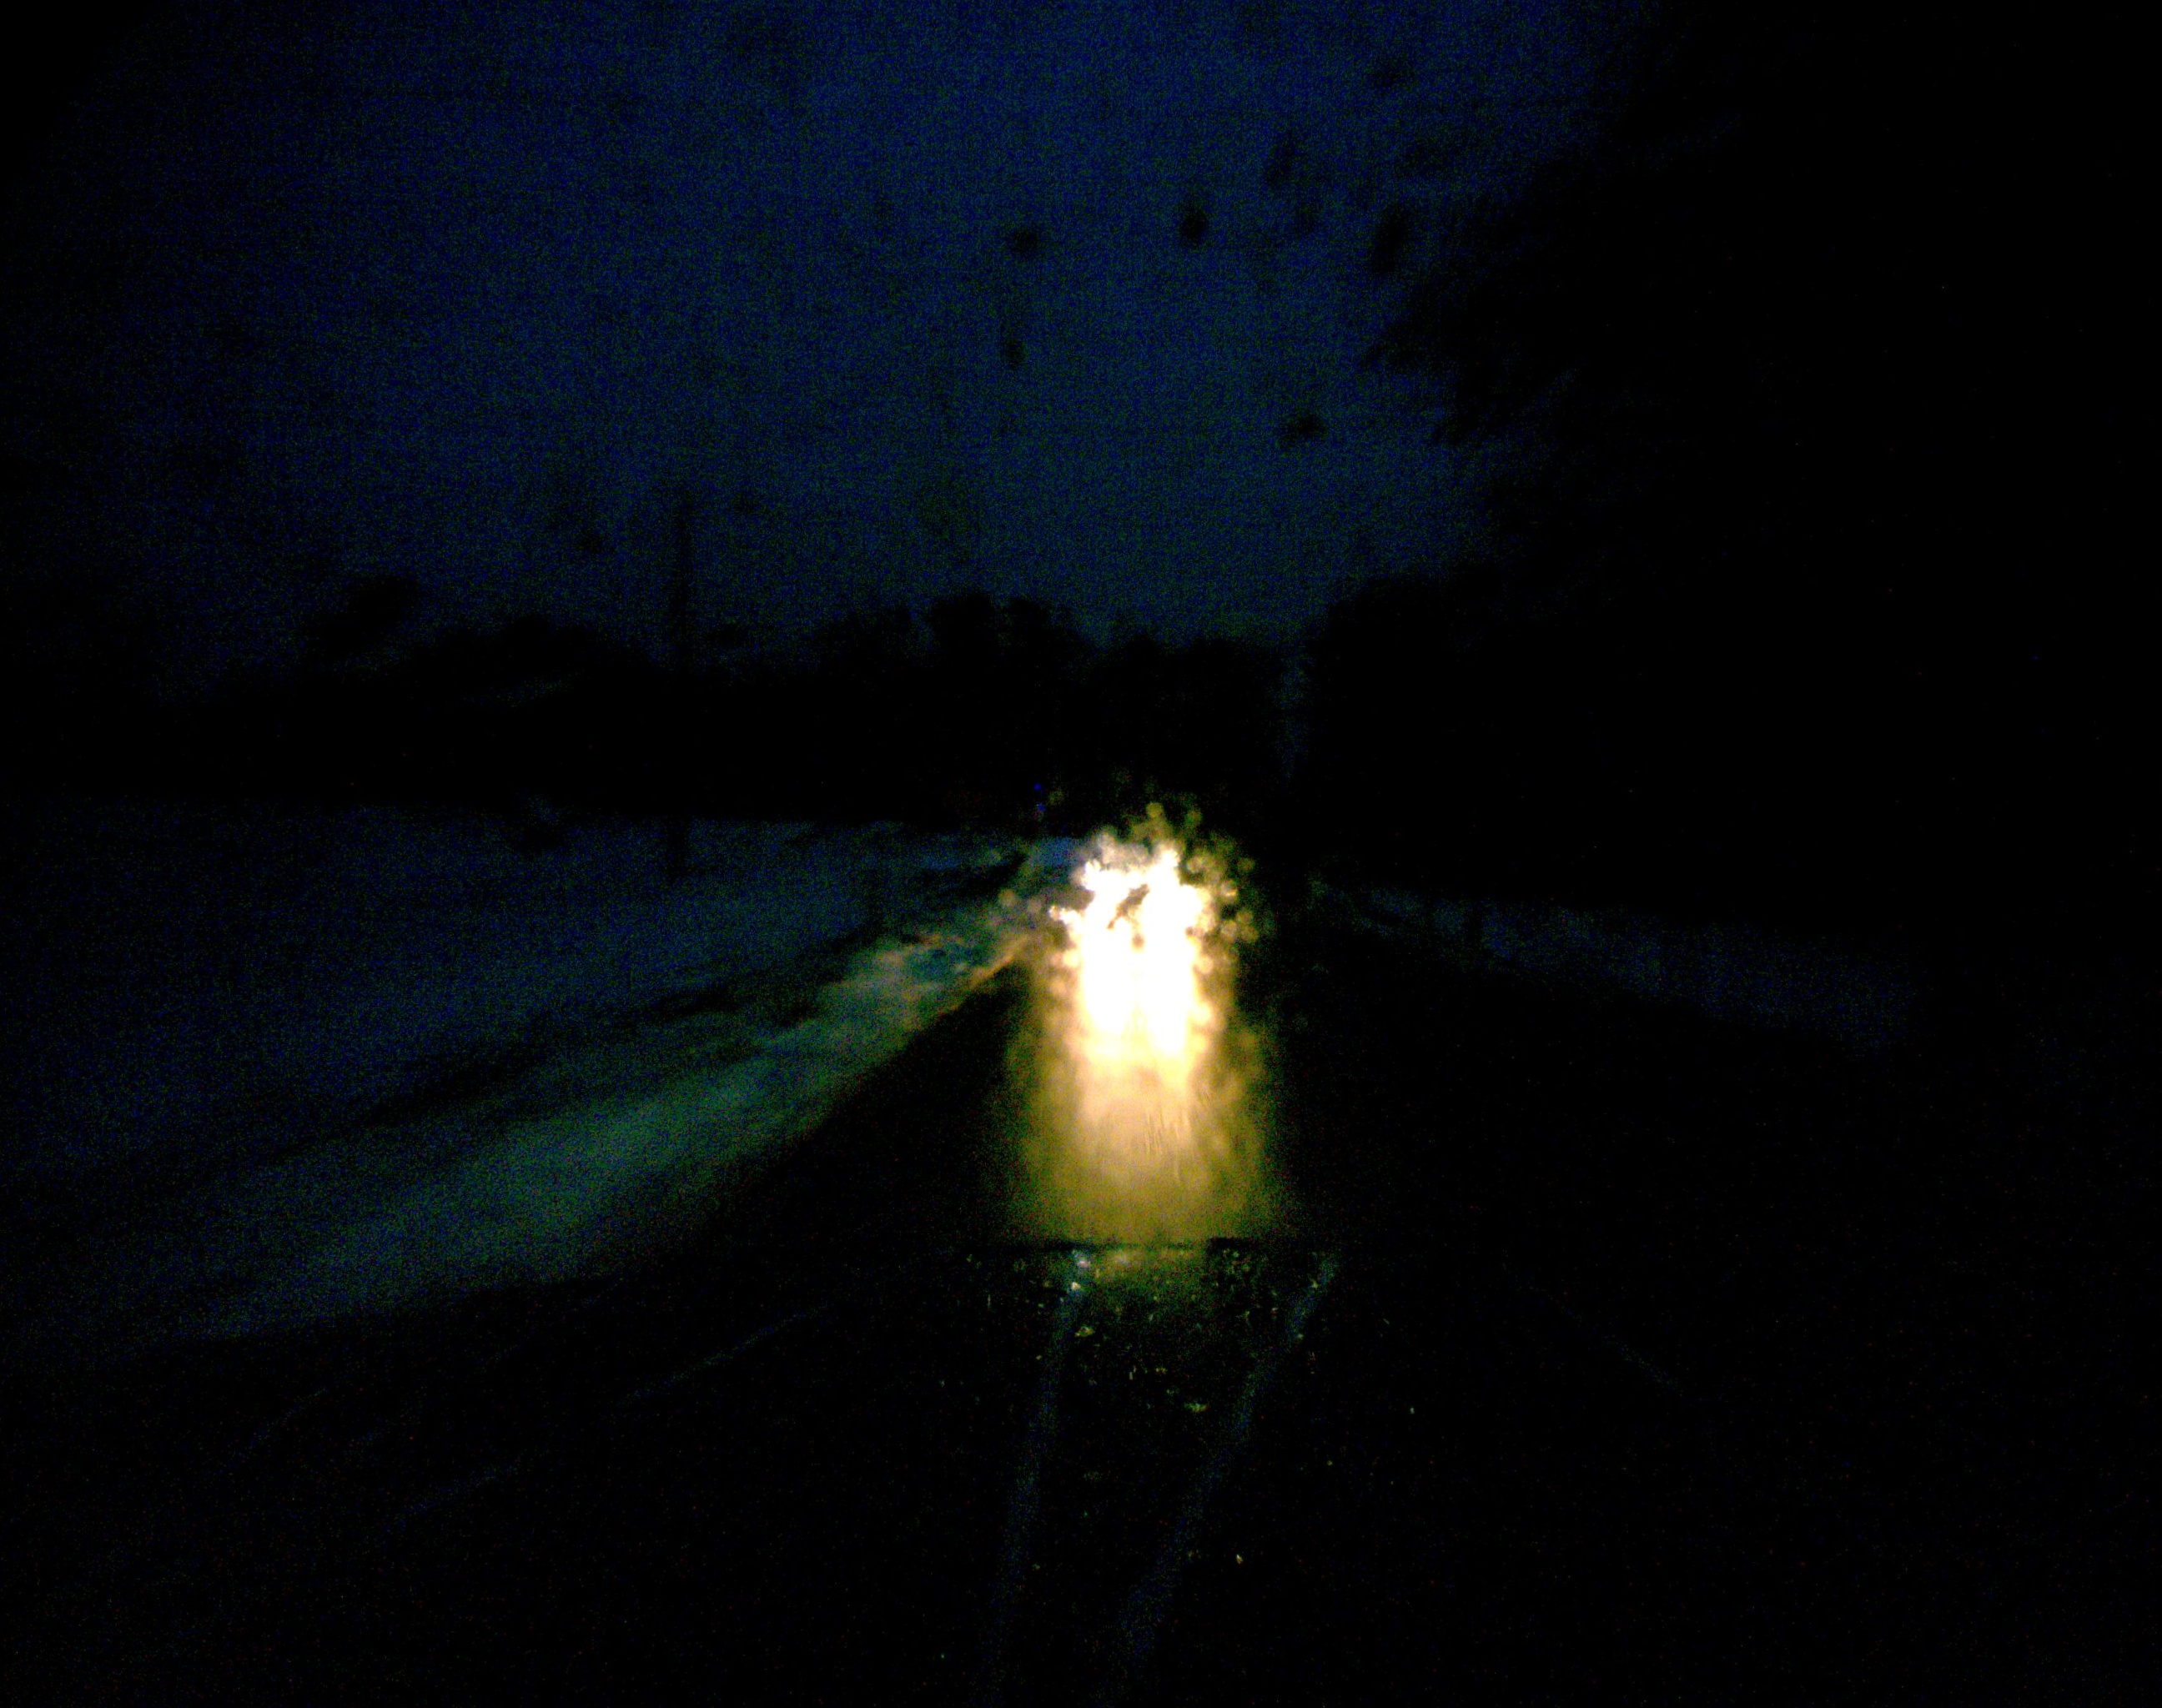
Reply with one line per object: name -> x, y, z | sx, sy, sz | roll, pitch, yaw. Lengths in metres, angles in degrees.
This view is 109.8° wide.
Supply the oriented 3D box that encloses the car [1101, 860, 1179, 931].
car -> 1.413, 0.887, 17.987 | 1.649, 1.446, 3.682 | 0, 1, 5
